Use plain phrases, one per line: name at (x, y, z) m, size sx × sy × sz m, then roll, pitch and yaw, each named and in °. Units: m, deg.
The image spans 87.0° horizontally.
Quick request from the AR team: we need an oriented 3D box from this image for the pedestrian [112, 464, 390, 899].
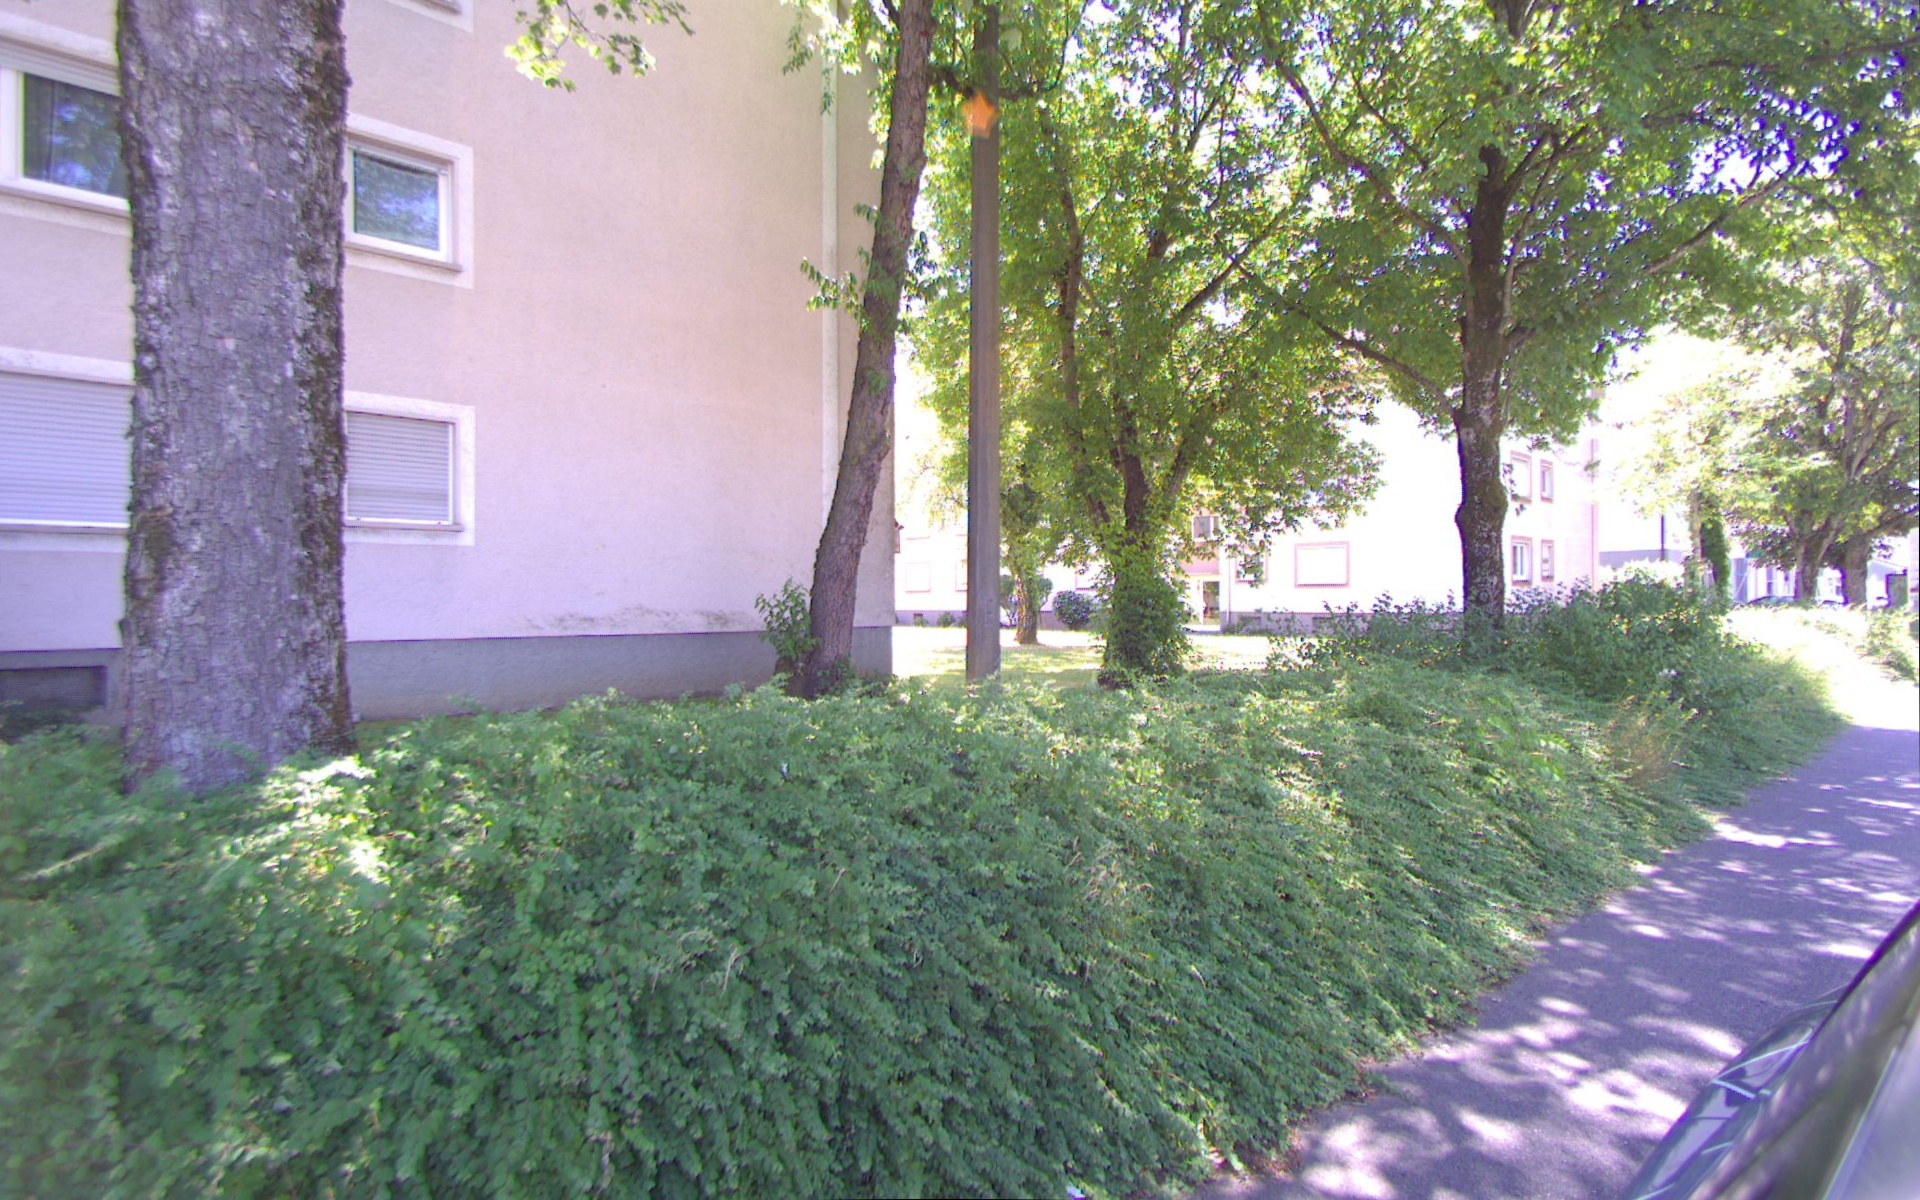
pedestrian at (-3.458, 0.360, 4.977) m, size 0.668 × 1.897 × 0.894 m, roll -2°, pitch -1°, yaw 28°
